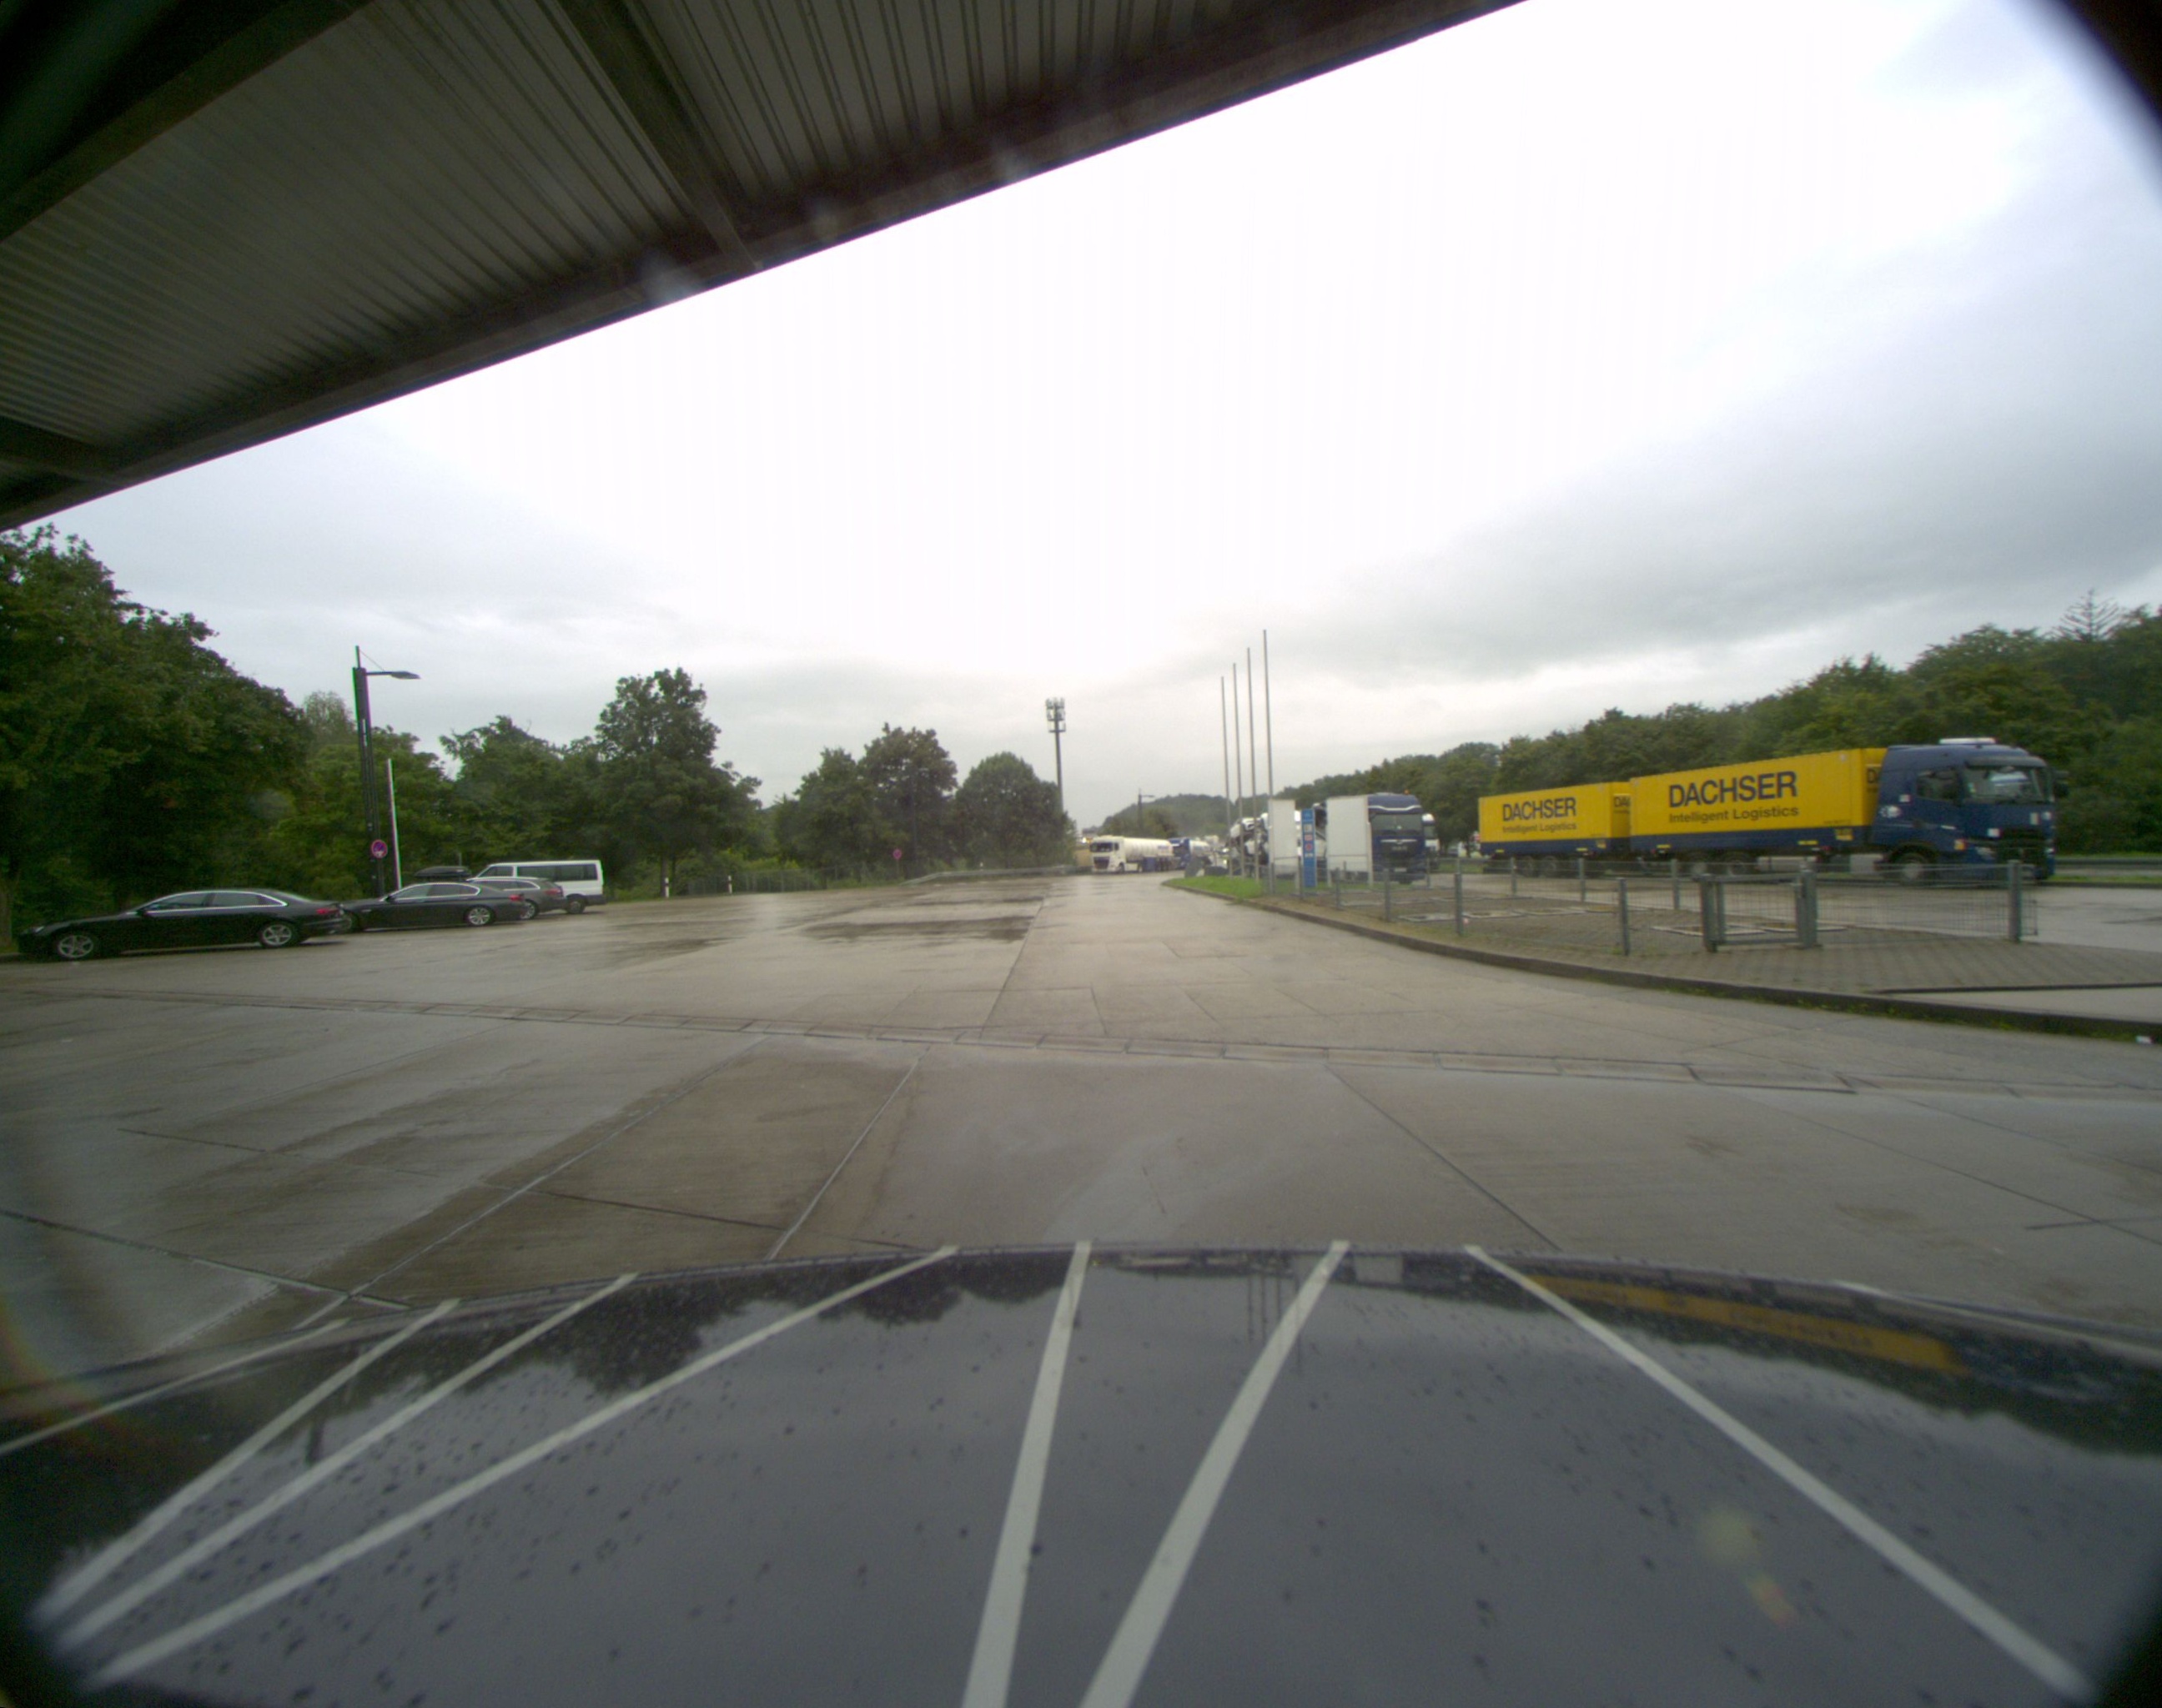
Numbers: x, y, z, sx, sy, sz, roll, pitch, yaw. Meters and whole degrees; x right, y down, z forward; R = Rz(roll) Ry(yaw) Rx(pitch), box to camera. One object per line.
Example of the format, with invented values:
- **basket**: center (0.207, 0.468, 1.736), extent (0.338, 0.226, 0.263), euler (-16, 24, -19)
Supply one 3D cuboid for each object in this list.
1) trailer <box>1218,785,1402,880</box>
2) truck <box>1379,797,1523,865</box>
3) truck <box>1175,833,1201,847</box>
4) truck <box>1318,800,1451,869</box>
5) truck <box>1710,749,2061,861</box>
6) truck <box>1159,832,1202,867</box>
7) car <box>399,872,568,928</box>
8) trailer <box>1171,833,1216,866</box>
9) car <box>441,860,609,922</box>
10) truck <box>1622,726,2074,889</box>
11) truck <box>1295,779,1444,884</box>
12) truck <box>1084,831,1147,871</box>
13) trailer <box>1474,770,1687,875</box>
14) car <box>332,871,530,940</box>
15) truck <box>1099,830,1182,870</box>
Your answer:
- **trailer**: center (11.366, -0.996, 40.945), extent (2.990, 4.009, 16.597), euler (-2, 1, -7)
- **truck**: center (24.353, -1.399, 50.963), extent (2.991, 4.009, 10.464), euler (-2, 1, -10)
- **truck**: center (29.527, -3.846, 210.454), extent (3.251, 3.544, 14.654), euler (0, 1, -7)
- **truck**: center (19.750, -1.216, 50.439), extent (2.991, 4.009, 10.464), euler (-2, 1, -10)
- **truck**: center (33.766, -1.817, 32.940), extent (2.991, 4.009, 10.464), euler (-2, 1, -10)
- **truck**: center (11.317, -0.519, 85.740), extent (3.045, 3.745, 6.475), euler (-2, 1, 23)
- **car**: center (-19.661, 1.455, 25.287), extent (4.187, 1.547, 1.995), euler (-2, 0, -33)
- **trailer**: center (13.657, -0.646, 91.448), extent (2.898, 3.618, 10.586), euler (-2, 1, 22)
- **car**: center (-20.271, 1.284, 27.917), extent (4.780, 1.974, 2.010), euler (-2, 0, -36)
- **truck**: center (23.054, -1.211, 24.316), extent (2.774, 4.009, 10.632), euler (-2, 1, -8)
- **truck**: center (12.295, -0.920, 33.254), extent (2.990, 4.009, 7.259), euler (-2, 1, -7)
- **truck**: center (3.306, -0.351, 71.444), extent (3.243, 3.544, 6.114), euler (-2, 1, 31)
- **trailer**: center (21.776, -1.271, 33.999), extent (2.774, 4.009, 8.853), euler (-2, 1, -8)
- **car**: center (-19.129, 1.452, 22.646), extent (4.187, 1.720, 1.995), euler (-2, 0, -33)
- **truck**: center (6.189, -0.518, 76.355), extent (3.243, 3.544, 11.995), euler (-2, 1, 31)
